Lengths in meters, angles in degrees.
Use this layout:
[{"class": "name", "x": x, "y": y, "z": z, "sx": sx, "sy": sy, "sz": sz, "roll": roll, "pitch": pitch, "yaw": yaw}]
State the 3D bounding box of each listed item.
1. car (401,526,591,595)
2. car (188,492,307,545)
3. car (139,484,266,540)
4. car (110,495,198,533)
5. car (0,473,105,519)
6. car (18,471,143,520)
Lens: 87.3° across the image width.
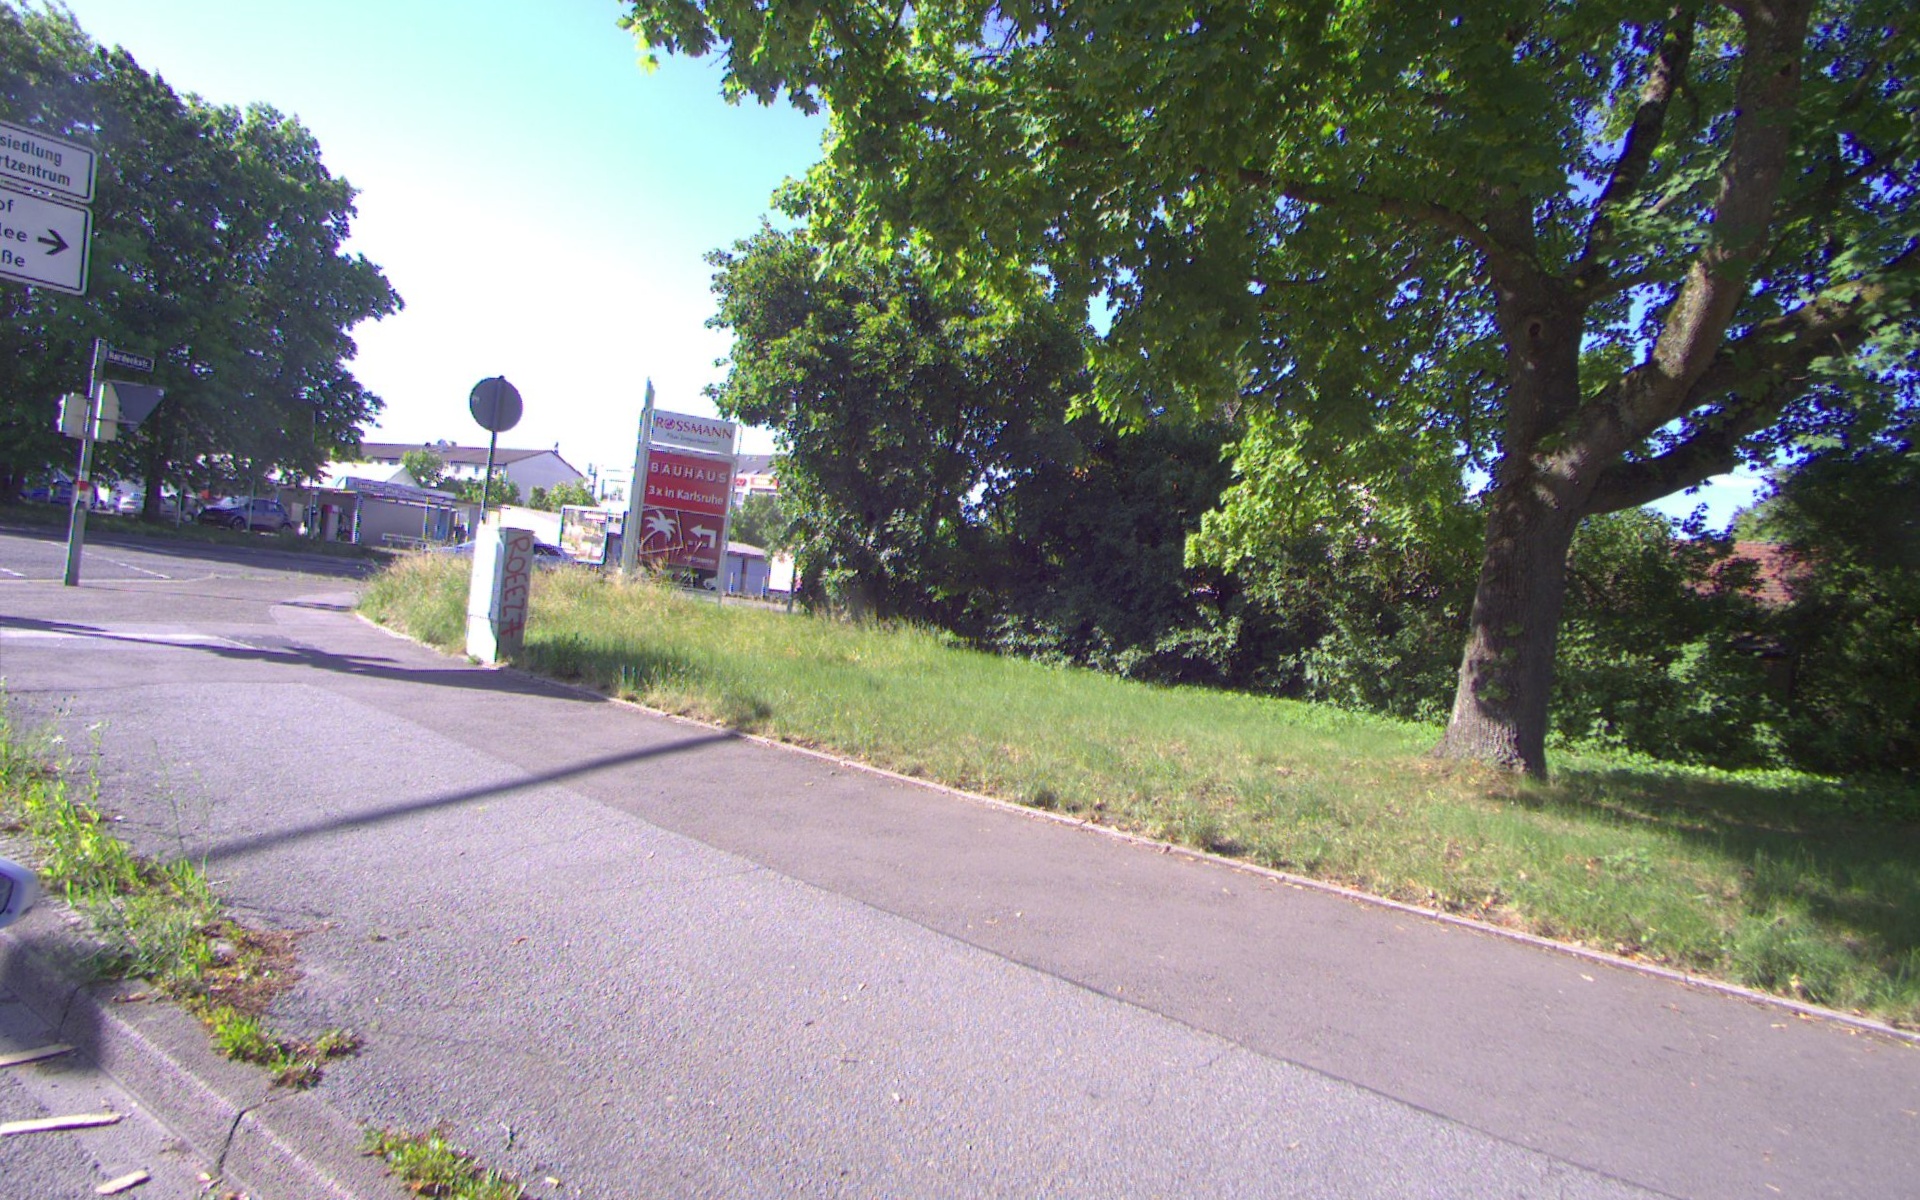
[{"class": "car", "x": -14.569, "y": -1.217, "z": 31.817, "sx": 1.973, "sy": 1.504, "sz": 4.994, "roll": 7, "pitch": 0, "yaw": 43}, {"class": "car", "x": -30.290, "y": -3.422, "z": 42.912, "sx": 1.712, "sy": 1.701, "sz": 4.001, "roll": 7, "pitch": 0, "yaw": 9}, {"class": "car", "x": -32.324, "y": -3.726, "z": 43.065, "sx": 1.962, "sy": 1.771, "sz": 4.001, "roll": 7, "pitch": 0, "yaw": 9}, {"class": "car", "x": -47.294, "y": -5.034, "z": 59.127, "sx": 1.713, "sy": 1.701, "sz": 3.999, "roll": 7, "pitch": 0, "yaw": 2}, {"class": "car", "x": -41.984, "y": -4.763, "z": 46.153, "sx": 1.712, "sy": 1.537, "sz": 3.902, "roll": 7, "pitch": 0, "yaw": 9}, {"class": "car", "x": -39.174, "y": -4.622, "z": 44.928, "sx": 1.712, "sy": 1.537, "sz": 3.902, "roll": 7, "pitch": 0, "yaw": 9}]
